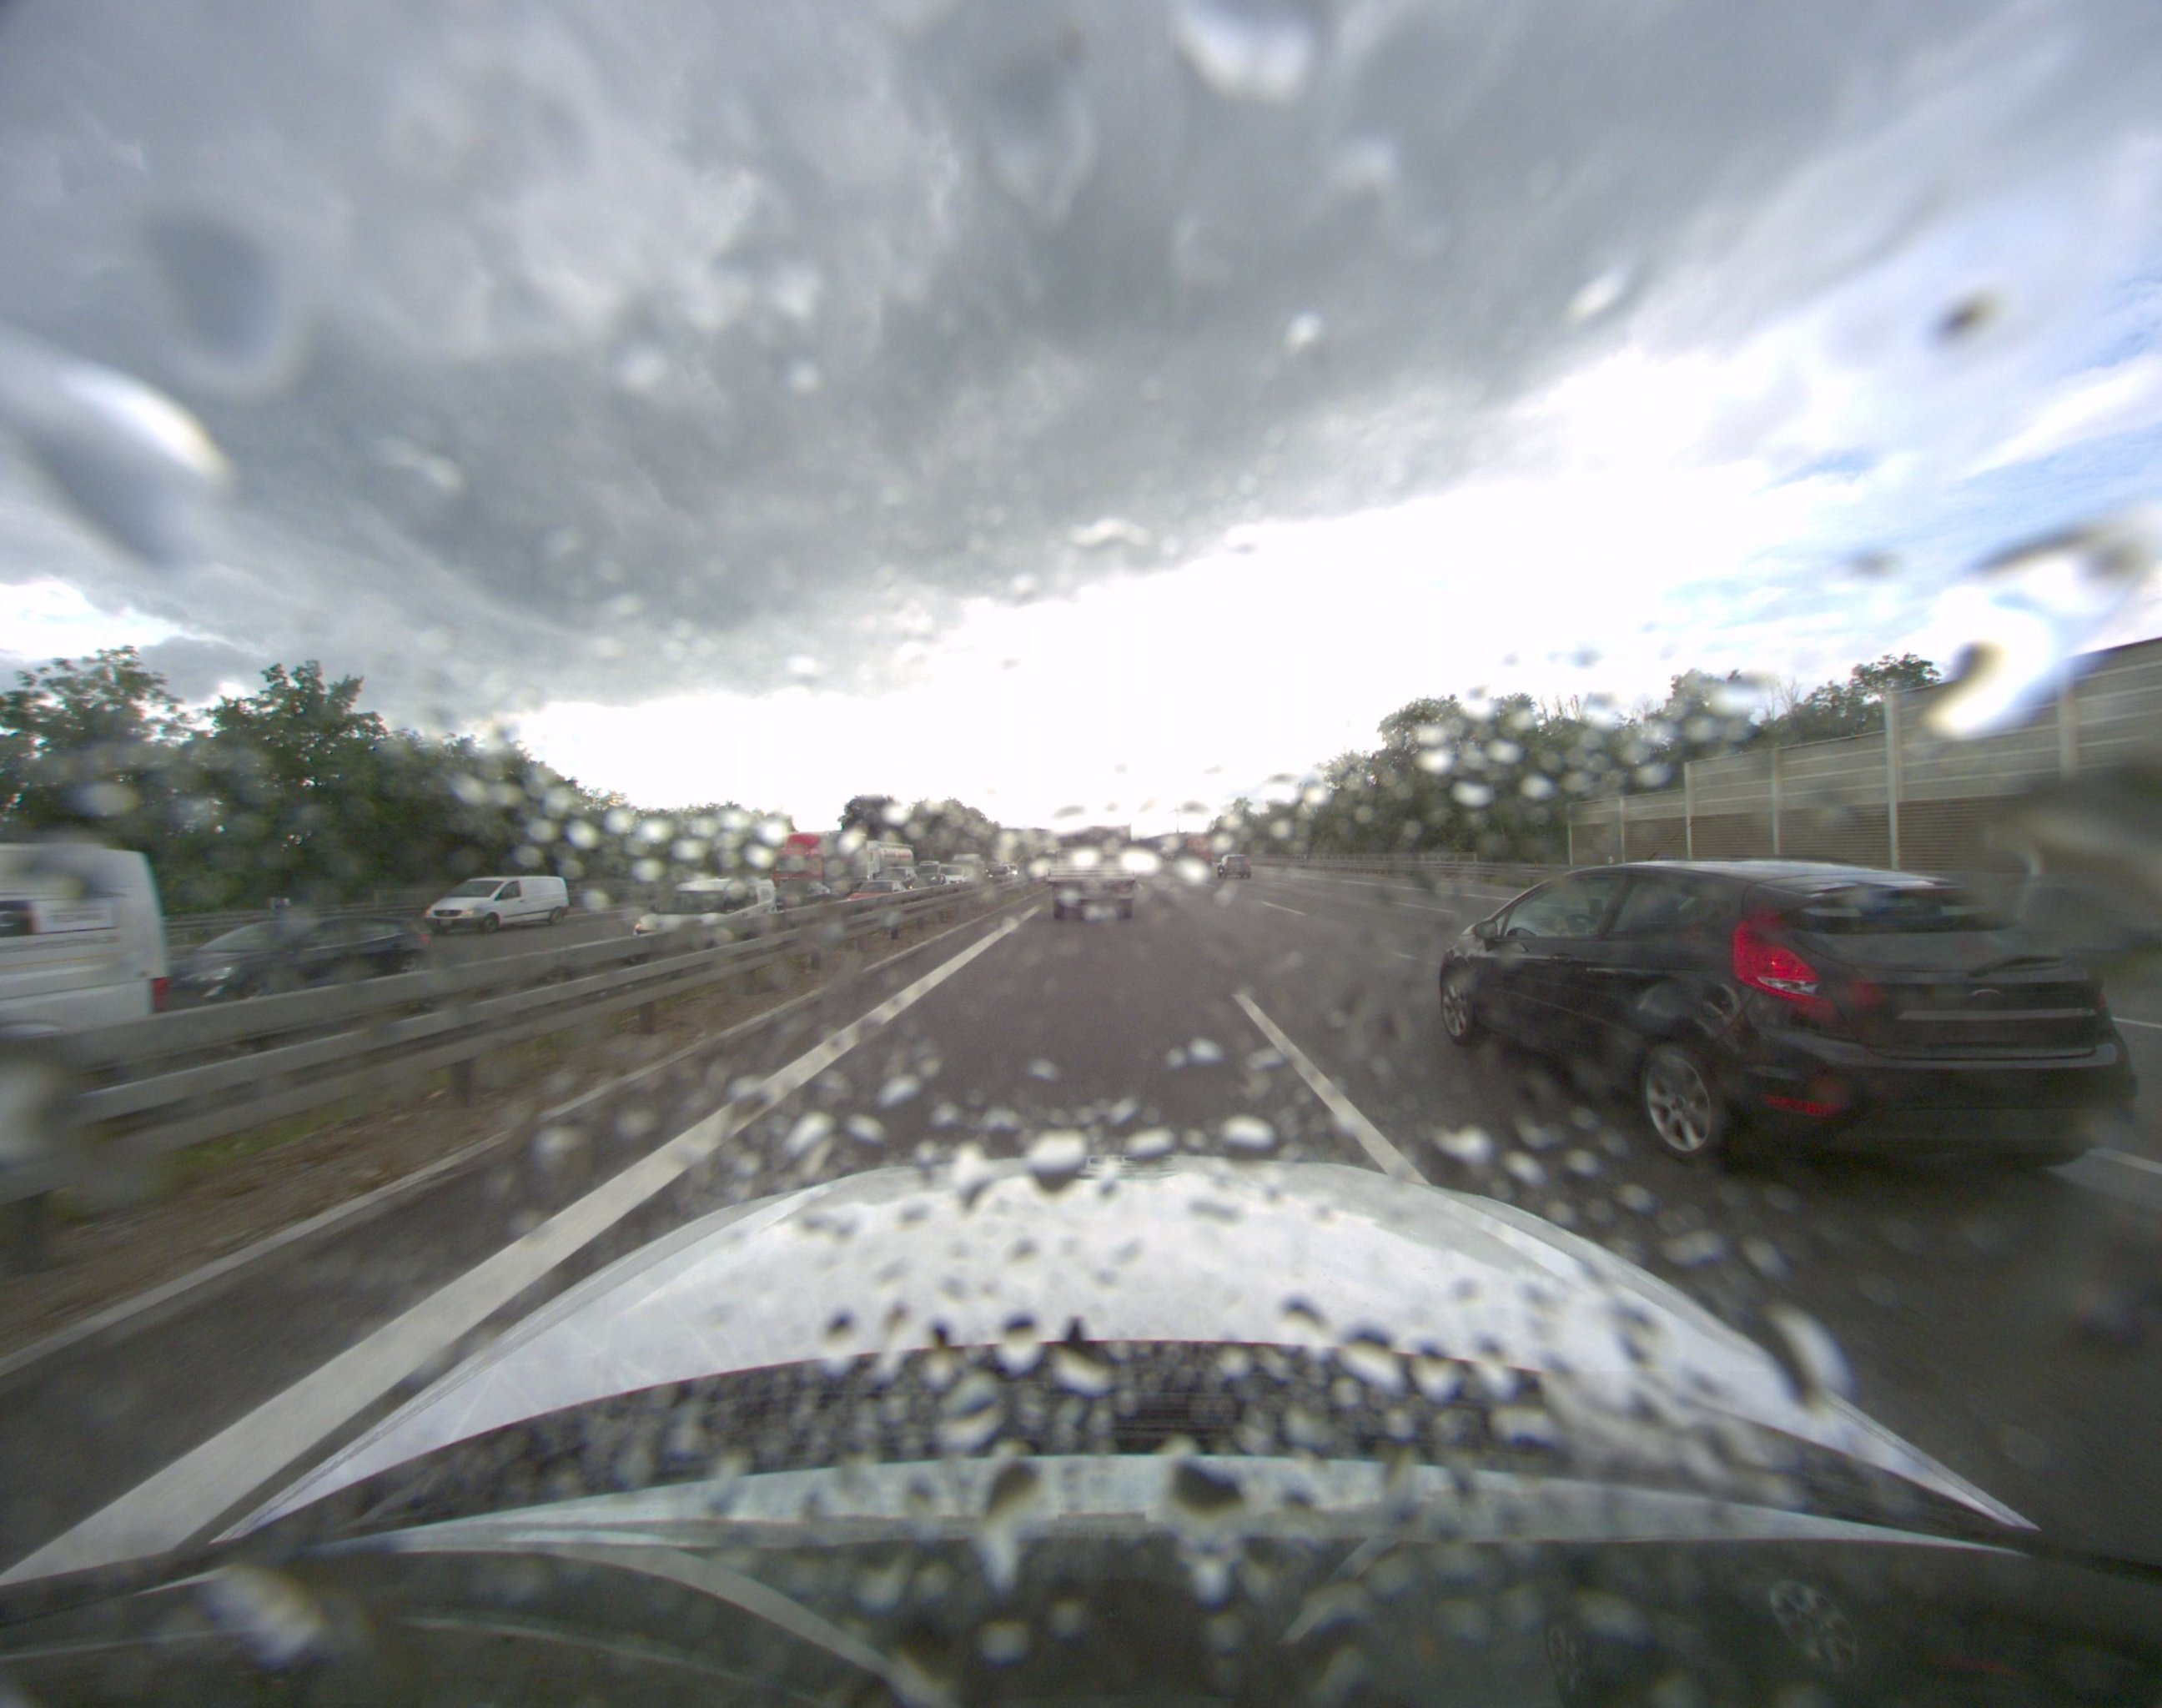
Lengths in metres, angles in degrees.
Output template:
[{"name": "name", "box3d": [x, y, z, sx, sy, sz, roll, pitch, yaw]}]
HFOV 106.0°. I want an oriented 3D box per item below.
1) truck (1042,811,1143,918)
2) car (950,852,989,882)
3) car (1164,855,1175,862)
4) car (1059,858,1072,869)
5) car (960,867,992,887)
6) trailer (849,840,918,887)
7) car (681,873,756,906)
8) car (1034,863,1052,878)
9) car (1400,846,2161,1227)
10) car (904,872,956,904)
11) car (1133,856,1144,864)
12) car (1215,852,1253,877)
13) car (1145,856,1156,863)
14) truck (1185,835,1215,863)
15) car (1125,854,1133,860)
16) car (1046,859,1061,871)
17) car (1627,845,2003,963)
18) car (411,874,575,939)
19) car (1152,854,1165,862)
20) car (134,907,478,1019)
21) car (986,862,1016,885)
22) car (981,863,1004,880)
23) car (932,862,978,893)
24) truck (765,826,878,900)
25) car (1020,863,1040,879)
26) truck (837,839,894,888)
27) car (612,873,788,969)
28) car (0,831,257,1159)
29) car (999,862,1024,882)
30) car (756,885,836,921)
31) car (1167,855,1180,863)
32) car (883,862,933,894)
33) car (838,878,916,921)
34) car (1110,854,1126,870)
[{"name": "truck", "box3d": [0.286, 0.301, 22.398, 2.299, 2.440, 7.147, -1, -1, 0]}, {"name": "car", "box3d": [-10.702, 1.219, 78.777, 2.118, 2.636, 7.615, -2, 0, 3]}, {"name": "car", "box3d": [20.985, 1.029, 193.189, 1.962, 1.561, 4.431, -2, 0, -1]}, {"name": "car", "box3d": [-2.724, 1.559, 140.178, 1.886, 1.801, 4.599, -2, 0, 2]}, {"name": "car", "box3d": [-7.602, 1.661, 59.355, 1.616, 1.297, 4.252, -2, 0, 1]}, {"name": "trailer", "box3d": [-18.953, 0.866, 79.413, 2.996, 4.032, 13.144, -2, 0, 2]}, {"name": "car", "box3d": [-20.233, 1.936, 45.709, 1.887, 1.593, 4.904, -2, 0, 1]}, {"name": "car", "box3d": [-5.200, 2.246, 111.948, 1.886, 1.801, 4.599, -2, 0, 2]}, {"name": "car", "box3d": [3.727, 0.724, 5.265, 1.711, 1.417, 4.279, -2, -1, 1]}, {"name": "car", "box3d": [-8.195, 1.830, 44.633, 1.887, 1.488, 4.479, -2, 0, 1]}, {"name": "car", "box3d": [11.958, 1.270, 168.808, 1.962, 1.561, 4.431, -2, 0, -1]}, {"name": "car", "box3d": [10.208, 0.698, 54.536, 1.875, 1.542, 4.436, -2, 0, 2]}, {"name": "car", "box3d": [15.606, 1.283, 183.460, 1.963, 1.561, 4.430, -2, 0, -2]}, {"name": "truck", "box3d": [16.173, -0.670, 111.558, 3.138, 3.601, 12.714, 0, 1, 4]}, {"name": "car", "box3d": [13.485, 0.912, 228.766, 1.962, 1.561, 4.431, -2, 0, -1]}, {"name": "car", "box3d": [-4.231, 1.722, 126.527, 1.886, 1.801, 4.599, -2, 0, 2]}, {"name": "car", "box3d": [10.570, 0.626, 12.280, 1.942, 1.418, 4.234, -2, 0, 2]}, {"name": "car", "box3d": [-20.548, 1.746, 28.818, 1.886, 1.912, 5.142, -2, 0, 2]}, {"name": "car", "box3d": [15.257, 0.776, 160.752, 1.962, 1.561, 4.431, -2, 0, -1]}, {"name": "car", "box3d": [-13.562, 1.822, 14.734, 1.811, 1.424, 4.480, 0, 0, 2]}, {"name": "car", "box3d": [-6.991, 1.679, 71.329, 1.887, 1.801, 5.572, -2, 0, 1]}, {"name": "car", "box3d": [-10.223, 2.009, 94.441, 1.886, 1.801, 4.599, -2, 0, 2]}, {"name": "car", "box3d": [-8.101, 1.481, 53.026, 1.887, 1.801, 5.843, -2, 0, 1]}, {"name": "truck", "box3d": [-16.166, 0.527, 52.121, 2.787, 4.112, 12.300, -2, 0, 2]}, {"name": "car", "box3d": [-5.968, 1.966, 95.624, 1.886, 1.801, 4.599, -2, 0, 2]}, {"name": "truck", "box3d": [-19.187, 0.833, 72.940, 3.011, 4.052, 6.538, -2, 0, 3]}, {"name": "car", "box3d": [-9.356, 1.535, 20.599, 1.811, 1.952, 5.224, -2, 0, 1]}, {"name": "car", "box3d": [-9.922, 1.182, 5.041, 2.017, 2.678, 7.313, -2, 0, 1]}, {"name": "car", "box3d": [-6.844, 1.774, 80.153, 1.887, 1.801, 4.597, -2, 0, 1]}, {"name": "car", "box3d": [-12.719, 2.151, 36.669, 1.887, 1.297, 4.581, -2, 0, 1]}, {"name": "car", "box3d": [19.314, 0.953, 170.322, 1.962, 1.561, 4.431, -2, 0, -1]}, {"name": "car", "box3d": [-11.692, 1.570, 55.463, 1.886, 1.962, 5.590, -2, 0, 2]}, {"name": "car", "box3d": [-8.240, 1.802, 33.306, 1.887, 1.460, 4.479, -2, 0, 1]}, {"name": "car", "box3d": [4.126, 0.865, 91.924, 1.710, 1.624, 4.281, -1, 1, 2]}]
